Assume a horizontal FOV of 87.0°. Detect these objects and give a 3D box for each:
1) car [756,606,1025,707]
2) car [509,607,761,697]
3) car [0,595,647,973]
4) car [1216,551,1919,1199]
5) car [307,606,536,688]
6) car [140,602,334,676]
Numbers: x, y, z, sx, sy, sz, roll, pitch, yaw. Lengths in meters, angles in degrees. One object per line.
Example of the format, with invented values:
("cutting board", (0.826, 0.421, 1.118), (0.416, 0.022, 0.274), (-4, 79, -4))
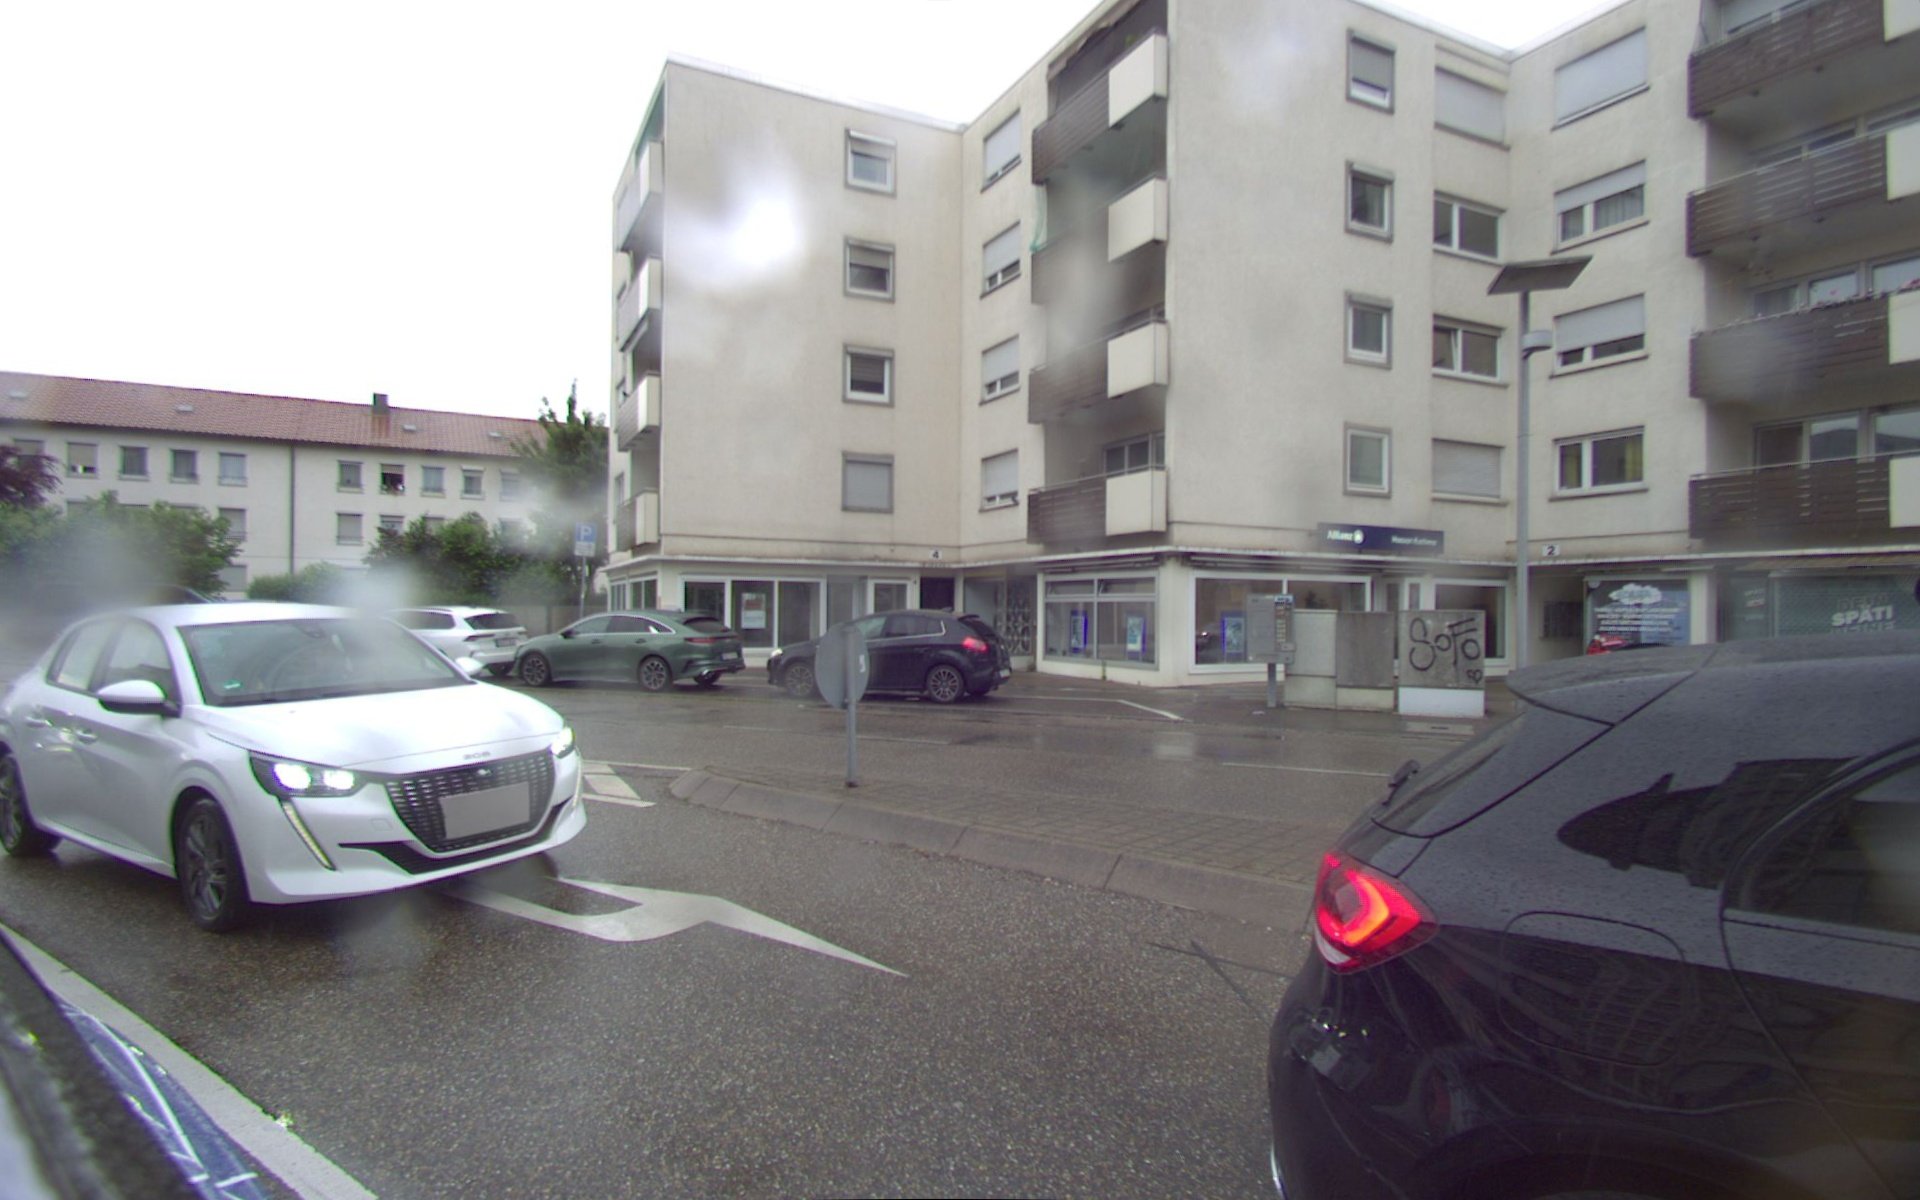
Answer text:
("car", (-1.144, 0.865, 16.986), (4.156, 1.471, 1.826), (1, 1, 20))
("car", (-6.032, 0.900, 18.841), (4.240, 1.445, 1.826), (1, 1, 19))
("car", (-3.749, 0.712, 5.640), (3.883, 1.420, 1.725), (0, 1, 32))
("car", (2.539, 0.655, 1.051), (4.090, 1.492, 1.646), (-1, 0, 39))
("car", (-10.946, 0.904, 20.588), (4.313, 1.511, 1.627), (1, -1, 19))
("car", (-16.154, 0.833, 22.629), (3.851, 1.517, 1.624), (1, -1, 20))
